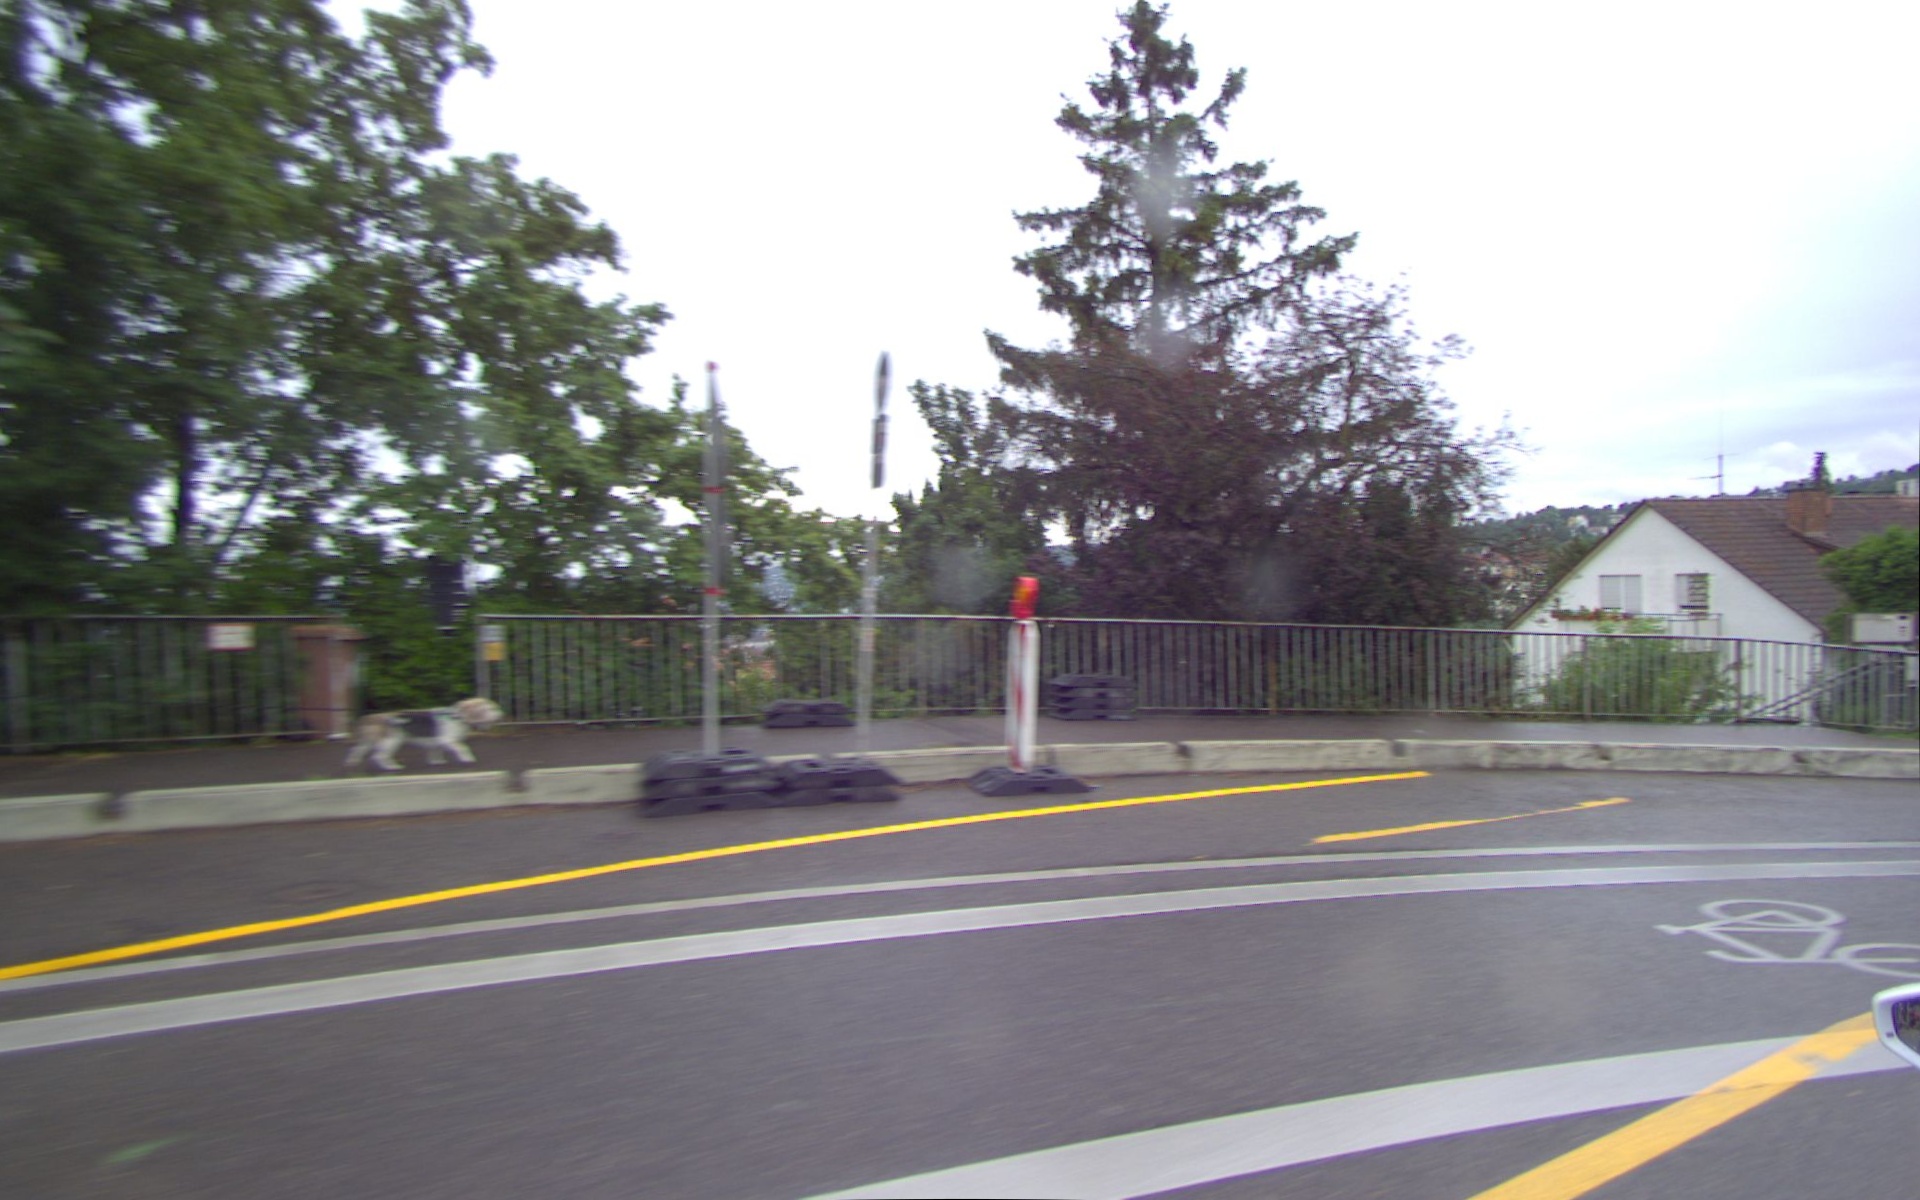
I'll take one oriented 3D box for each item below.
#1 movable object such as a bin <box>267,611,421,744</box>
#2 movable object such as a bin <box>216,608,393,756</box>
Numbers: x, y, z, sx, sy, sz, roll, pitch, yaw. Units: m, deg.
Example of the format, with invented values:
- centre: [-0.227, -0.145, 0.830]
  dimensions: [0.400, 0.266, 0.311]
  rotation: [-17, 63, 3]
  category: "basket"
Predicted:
- centre: [-5.646, 0.672, 9.285]
  dimensions: [1.012, 1.121, 0.984]
  rotation: [-1, 0, -21]
  category: "movable object such as a bin"
- centre: [-5.323, 0.634, 8.244]
  dimensions: [1.012, 1.121, 0.984]
  rotation: [0, -1, -21]
  category: "movable object such as a bin"
